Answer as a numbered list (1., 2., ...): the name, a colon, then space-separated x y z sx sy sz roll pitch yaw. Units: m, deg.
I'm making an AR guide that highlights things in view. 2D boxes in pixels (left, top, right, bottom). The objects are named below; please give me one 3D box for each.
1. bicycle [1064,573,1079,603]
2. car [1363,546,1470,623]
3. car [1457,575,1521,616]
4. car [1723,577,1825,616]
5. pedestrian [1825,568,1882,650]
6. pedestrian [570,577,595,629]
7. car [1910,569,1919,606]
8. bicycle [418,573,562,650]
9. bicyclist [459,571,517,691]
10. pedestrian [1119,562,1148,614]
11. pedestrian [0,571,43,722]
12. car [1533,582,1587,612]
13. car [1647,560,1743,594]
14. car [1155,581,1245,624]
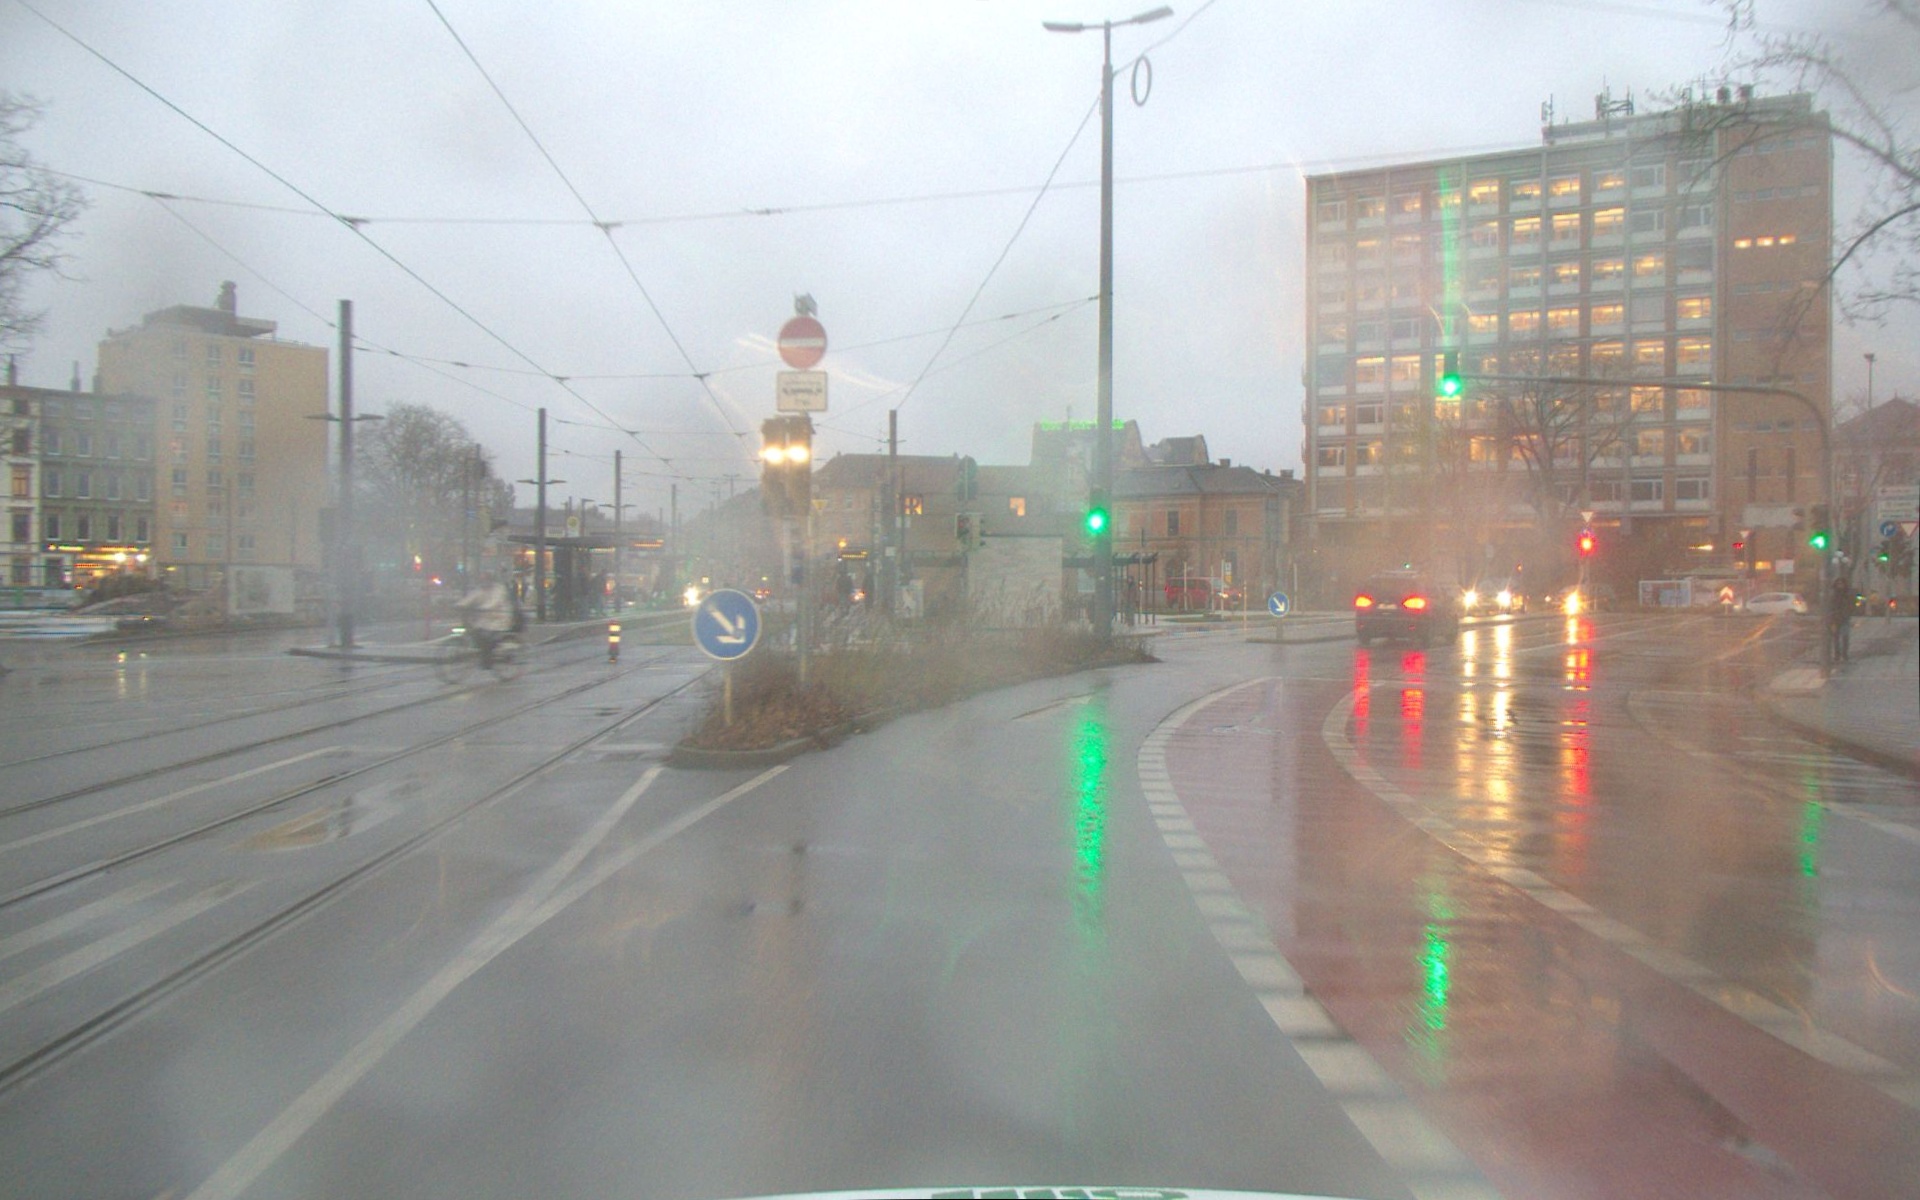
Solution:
1. bicycle: 4.555 -0.486 67.640 0.537 1.185 1.899 2 0 2
2. car: 11.718 -0.424 42.284 1.617 1.850 3.992 2 2 31
3. car: 23.027 -0.225 71.866 1.721 1.691 4.522 -1 0 30
4. car: 46.414 -0.220 94.352 4.863 2.049 1.987 2 0 44
5. pedestrian: 19.210 0.190 35.584 0.788 1.714 1.157 -1 0 15
6. pedestrian: -13.192 0.117 57.830 0.698 1.788 0.717 1 0 -3
7. car: 51.949 -0.598 84.964 1.983 1.946 5.091 0 1 -43
8. bicycle: -7.226 0.154 25.533 0.616 1.093 2.199 2 2 39
9. bicyclist: -7.277 0.473 25.498 0.601 1.798 0.586 2 0 40
10. pedestrian: 5.815 -0.397 55.410 0.661 1.703 0.728 2 0 34
11. pedestrian: -15.745 0.737 26.862 0.974 2.412 1.063 2 0 27
12. car: 29.613 -0.160 81.545 1.714 1.402 4.358 -1 0 30
13. car: 48.533 -1.508 109.204 5.457 2.059 1.991 2 0 38
14. car: 14.023 0.149 96.864 2.239 2.321 4.961 2 0 -42
